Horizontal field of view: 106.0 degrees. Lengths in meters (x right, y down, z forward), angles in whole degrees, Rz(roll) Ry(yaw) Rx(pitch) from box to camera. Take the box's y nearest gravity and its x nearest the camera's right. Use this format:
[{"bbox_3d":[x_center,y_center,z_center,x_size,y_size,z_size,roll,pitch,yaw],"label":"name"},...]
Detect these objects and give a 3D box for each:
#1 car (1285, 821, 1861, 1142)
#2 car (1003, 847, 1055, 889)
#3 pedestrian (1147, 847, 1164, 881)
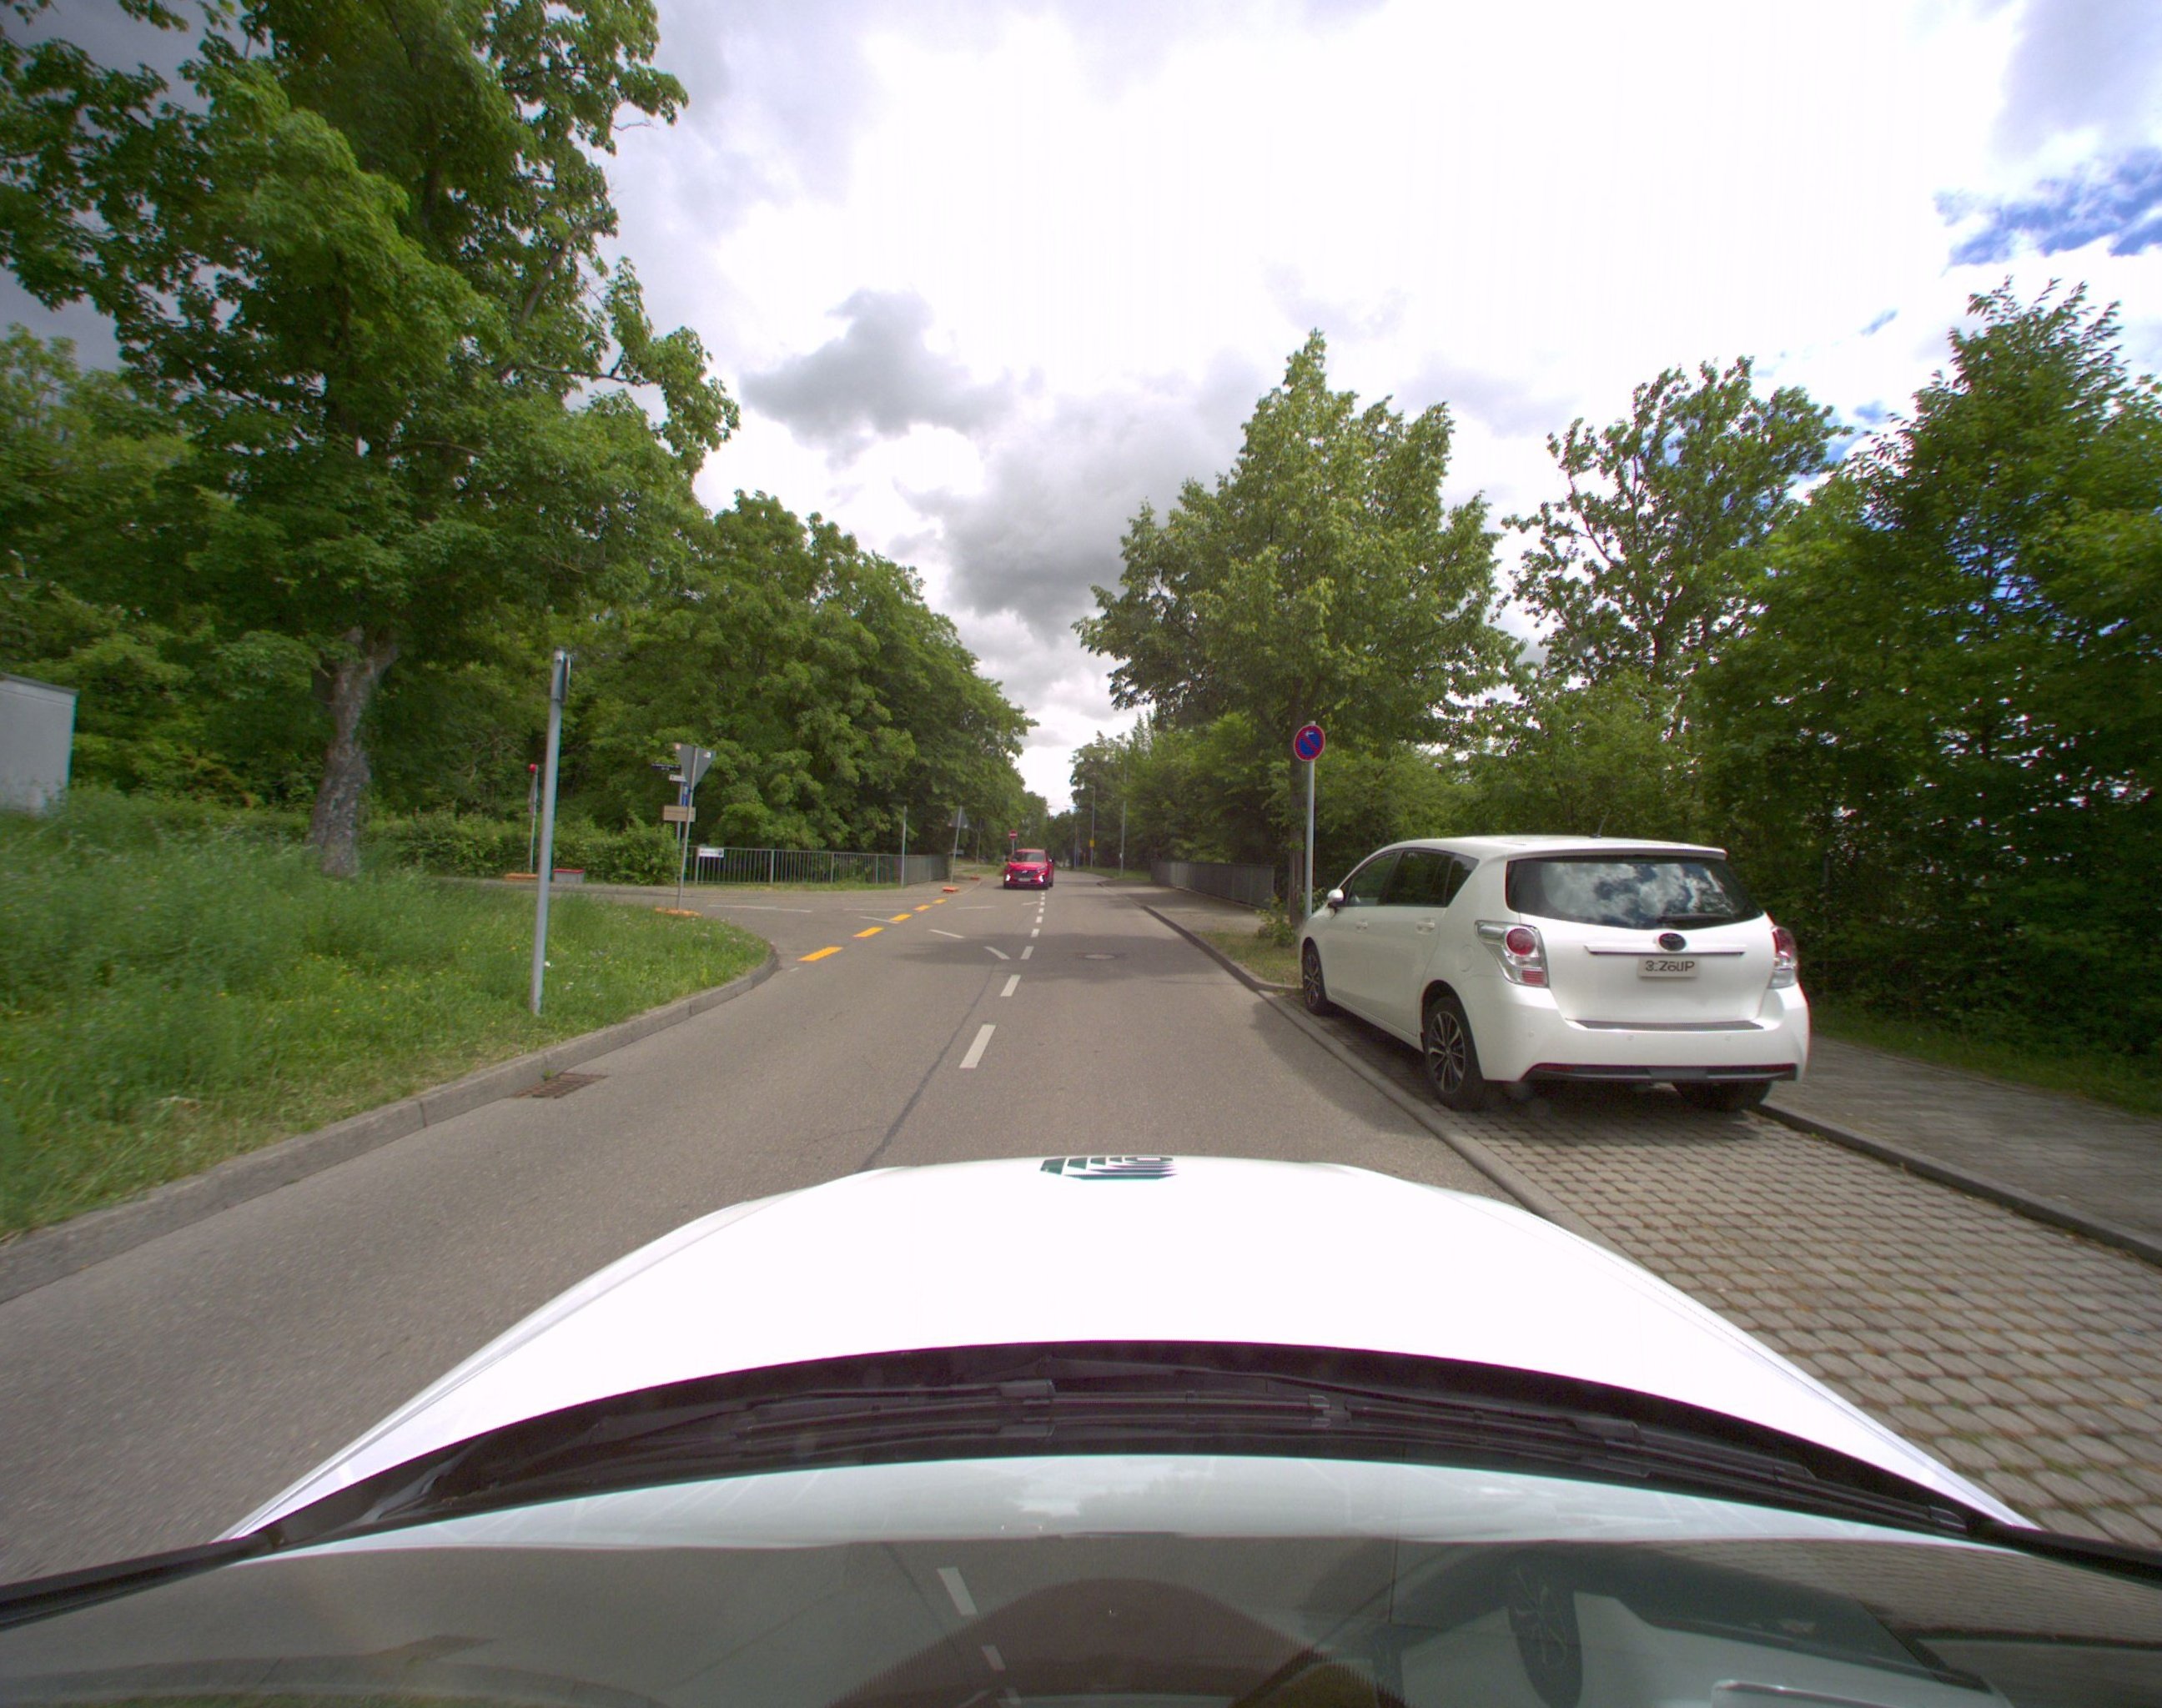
[{"bbox_3d":[3.011,0.629,6.256,1.799,1.600,4.371,0,0,0],"label":"car"},{"bbox_3d":[-2.146,0.550,34.777,1.837,1.659,4.222,1,0,1],"label":"car"},{"bbox_3d":[3.975,0.531,43.196,0.590,1.783,0.676,2,-2,-28],"label":"pedestrian"}]
